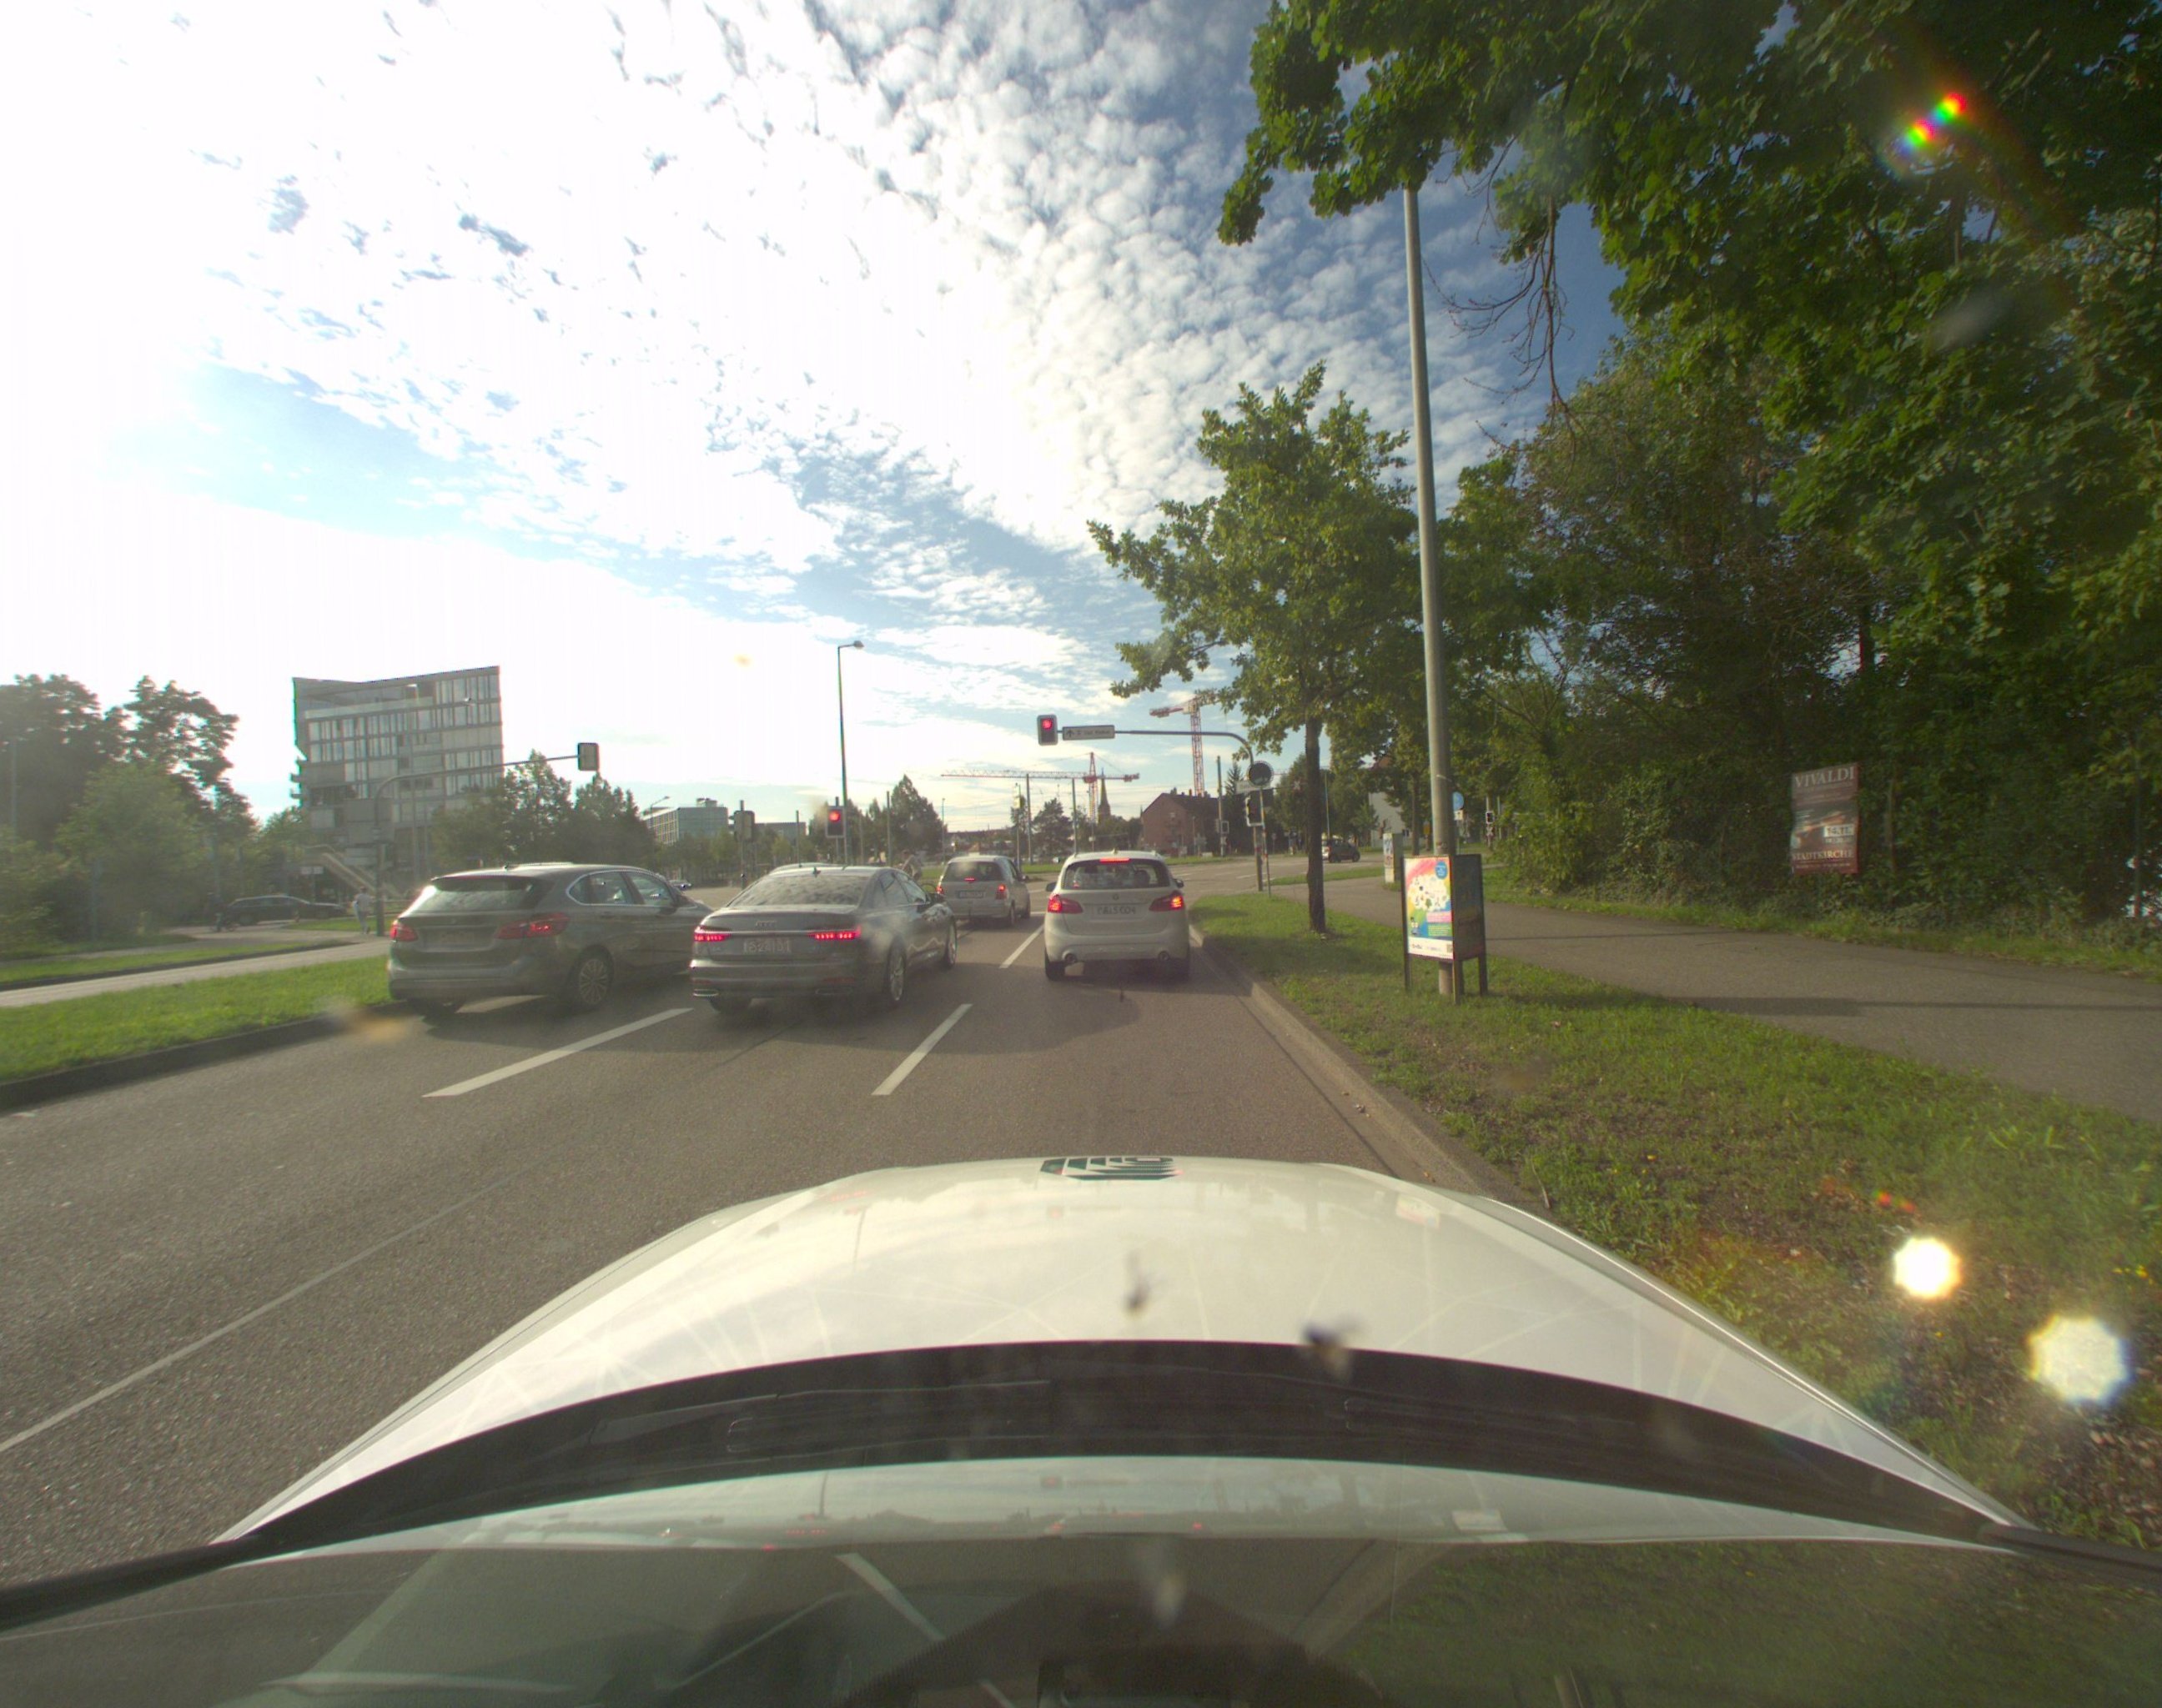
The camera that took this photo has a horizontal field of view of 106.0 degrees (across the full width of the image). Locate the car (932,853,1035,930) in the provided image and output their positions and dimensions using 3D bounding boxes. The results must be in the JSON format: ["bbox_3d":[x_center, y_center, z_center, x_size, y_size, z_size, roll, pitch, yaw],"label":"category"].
[{"bbox_3d":[-2.134,0.780,18.948,1.722,1.558,4.060,-1,0,2],"label":"car"}]

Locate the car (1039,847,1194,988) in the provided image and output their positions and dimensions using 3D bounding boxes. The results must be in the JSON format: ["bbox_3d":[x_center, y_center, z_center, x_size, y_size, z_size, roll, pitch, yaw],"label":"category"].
[{"bbox_3d":[0.464,0.724,11.311,1.723,1.558,4.059,-1,0,2],"label":"car"}]

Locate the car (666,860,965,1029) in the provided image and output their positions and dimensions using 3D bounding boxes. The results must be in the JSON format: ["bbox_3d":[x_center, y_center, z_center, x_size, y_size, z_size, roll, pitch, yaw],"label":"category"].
[{"bbox_3d":[-2.728,0.836,9.655,1.883,1.483,4.614,-1,-1,2],"label":"car"}]

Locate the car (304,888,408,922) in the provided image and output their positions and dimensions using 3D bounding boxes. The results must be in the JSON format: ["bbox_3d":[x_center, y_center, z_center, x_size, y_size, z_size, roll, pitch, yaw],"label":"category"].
[{"bbox_3d":[-39.714,2.750,44.726,3.945,1.551,1.743,-3,0,-30],"label":"car"}]

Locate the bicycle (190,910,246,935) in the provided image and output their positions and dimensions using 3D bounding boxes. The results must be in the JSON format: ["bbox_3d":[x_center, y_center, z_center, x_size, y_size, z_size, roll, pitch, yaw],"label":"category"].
[{"bbox_3d":[-38.359,3.046,36.204,1.670,0.967,0.643,-3,0,-4],"label":"bicycle"}]

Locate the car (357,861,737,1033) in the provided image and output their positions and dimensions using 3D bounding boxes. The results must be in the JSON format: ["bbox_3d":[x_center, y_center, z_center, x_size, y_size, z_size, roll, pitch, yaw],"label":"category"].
[{"bbox_3d":[-5.887,0.895,9.685,1.722,1.558,4.021,-2,0,2],"label":"car"}]

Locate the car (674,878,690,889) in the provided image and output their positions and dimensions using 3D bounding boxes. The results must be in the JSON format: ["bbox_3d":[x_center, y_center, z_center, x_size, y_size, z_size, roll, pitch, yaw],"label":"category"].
[{"bbox_3d":[-55.093,4.079,112.508,1.626,1.464,3.694,-3,0,-31],"label":"car"}]

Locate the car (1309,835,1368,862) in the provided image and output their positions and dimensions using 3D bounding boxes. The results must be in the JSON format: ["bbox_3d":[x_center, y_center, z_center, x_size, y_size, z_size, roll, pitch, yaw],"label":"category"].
[{"bbox_3d":[16.180,-0.353,51.257,3.196,1.574,1.566,-3,1,-17],"label":"car"}]

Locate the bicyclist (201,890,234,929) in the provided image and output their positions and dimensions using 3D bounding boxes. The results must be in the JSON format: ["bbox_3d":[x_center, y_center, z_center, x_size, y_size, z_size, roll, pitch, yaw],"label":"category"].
[{"bbox_3d":[-38.395,2.469,36.208,0.786,1.668,0.549,-3,-1,-4],"label":"bicyclist"}]

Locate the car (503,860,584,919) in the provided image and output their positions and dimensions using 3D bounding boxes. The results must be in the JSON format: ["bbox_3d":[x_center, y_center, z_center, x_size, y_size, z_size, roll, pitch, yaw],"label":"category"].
[{"bbox_3d":[-23.501,1.542,35.848,2.004,2.235,5.874,-4,0,-25],"label":"car"}]

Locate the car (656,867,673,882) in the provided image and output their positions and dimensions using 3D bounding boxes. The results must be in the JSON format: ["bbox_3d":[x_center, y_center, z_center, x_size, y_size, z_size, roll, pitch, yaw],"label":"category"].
[{"bbox_3d":[-48.714,2.392,95.274,1.600,1.415,3.638,-5,-2,-25],"label":"car"}]

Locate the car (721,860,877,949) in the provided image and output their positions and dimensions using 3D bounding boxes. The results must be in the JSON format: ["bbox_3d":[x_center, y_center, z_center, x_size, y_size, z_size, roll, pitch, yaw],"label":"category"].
[{"bbox_3d":[-5.482,0.917,16.359,1.674,1.523,3.811,-1,0,1],"label":"car"}]

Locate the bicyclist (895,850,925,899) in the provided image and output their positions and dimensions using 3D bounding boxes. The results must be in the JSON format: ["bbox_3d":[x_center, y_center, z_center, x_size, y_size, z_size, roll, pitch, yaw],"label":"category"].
[{"bbox_3d":[-5.532,0.663,26.303,0.850,1.526,0.737,-3,0,-15],"label":"bicyclist"}]

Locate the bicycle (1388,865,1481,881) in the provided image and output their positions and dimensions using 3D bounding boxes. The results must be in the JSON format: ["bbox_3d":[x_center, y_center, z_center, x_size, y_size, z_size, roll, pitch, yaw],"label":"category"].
[{"bbox_3d":[10.575,0.562,24.515,1.407,0.385,2.568,-3,0,-9],"label":"bicycle"}]

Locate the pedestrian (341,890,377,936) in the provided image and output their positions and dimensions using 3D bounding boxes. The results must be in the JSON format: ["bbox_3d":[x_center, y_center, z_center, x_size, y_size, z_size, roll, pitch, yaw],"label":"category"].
[{"bbox_3d":[-25.334,2.061,28.596,0.653,1.569,0.615,-3,-1,-3],"label":"pedestrian"}]

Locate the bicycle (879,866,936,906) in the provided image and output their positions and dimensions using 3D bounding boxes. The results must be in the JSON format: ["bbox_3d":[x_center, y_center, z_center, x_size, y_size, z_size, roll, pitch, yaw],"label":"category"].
[{"bbox_3d":[-5.597,1.033,26.271,1.728,1.163,0.652,-3,1,-15],"label":"bicycle"}]
